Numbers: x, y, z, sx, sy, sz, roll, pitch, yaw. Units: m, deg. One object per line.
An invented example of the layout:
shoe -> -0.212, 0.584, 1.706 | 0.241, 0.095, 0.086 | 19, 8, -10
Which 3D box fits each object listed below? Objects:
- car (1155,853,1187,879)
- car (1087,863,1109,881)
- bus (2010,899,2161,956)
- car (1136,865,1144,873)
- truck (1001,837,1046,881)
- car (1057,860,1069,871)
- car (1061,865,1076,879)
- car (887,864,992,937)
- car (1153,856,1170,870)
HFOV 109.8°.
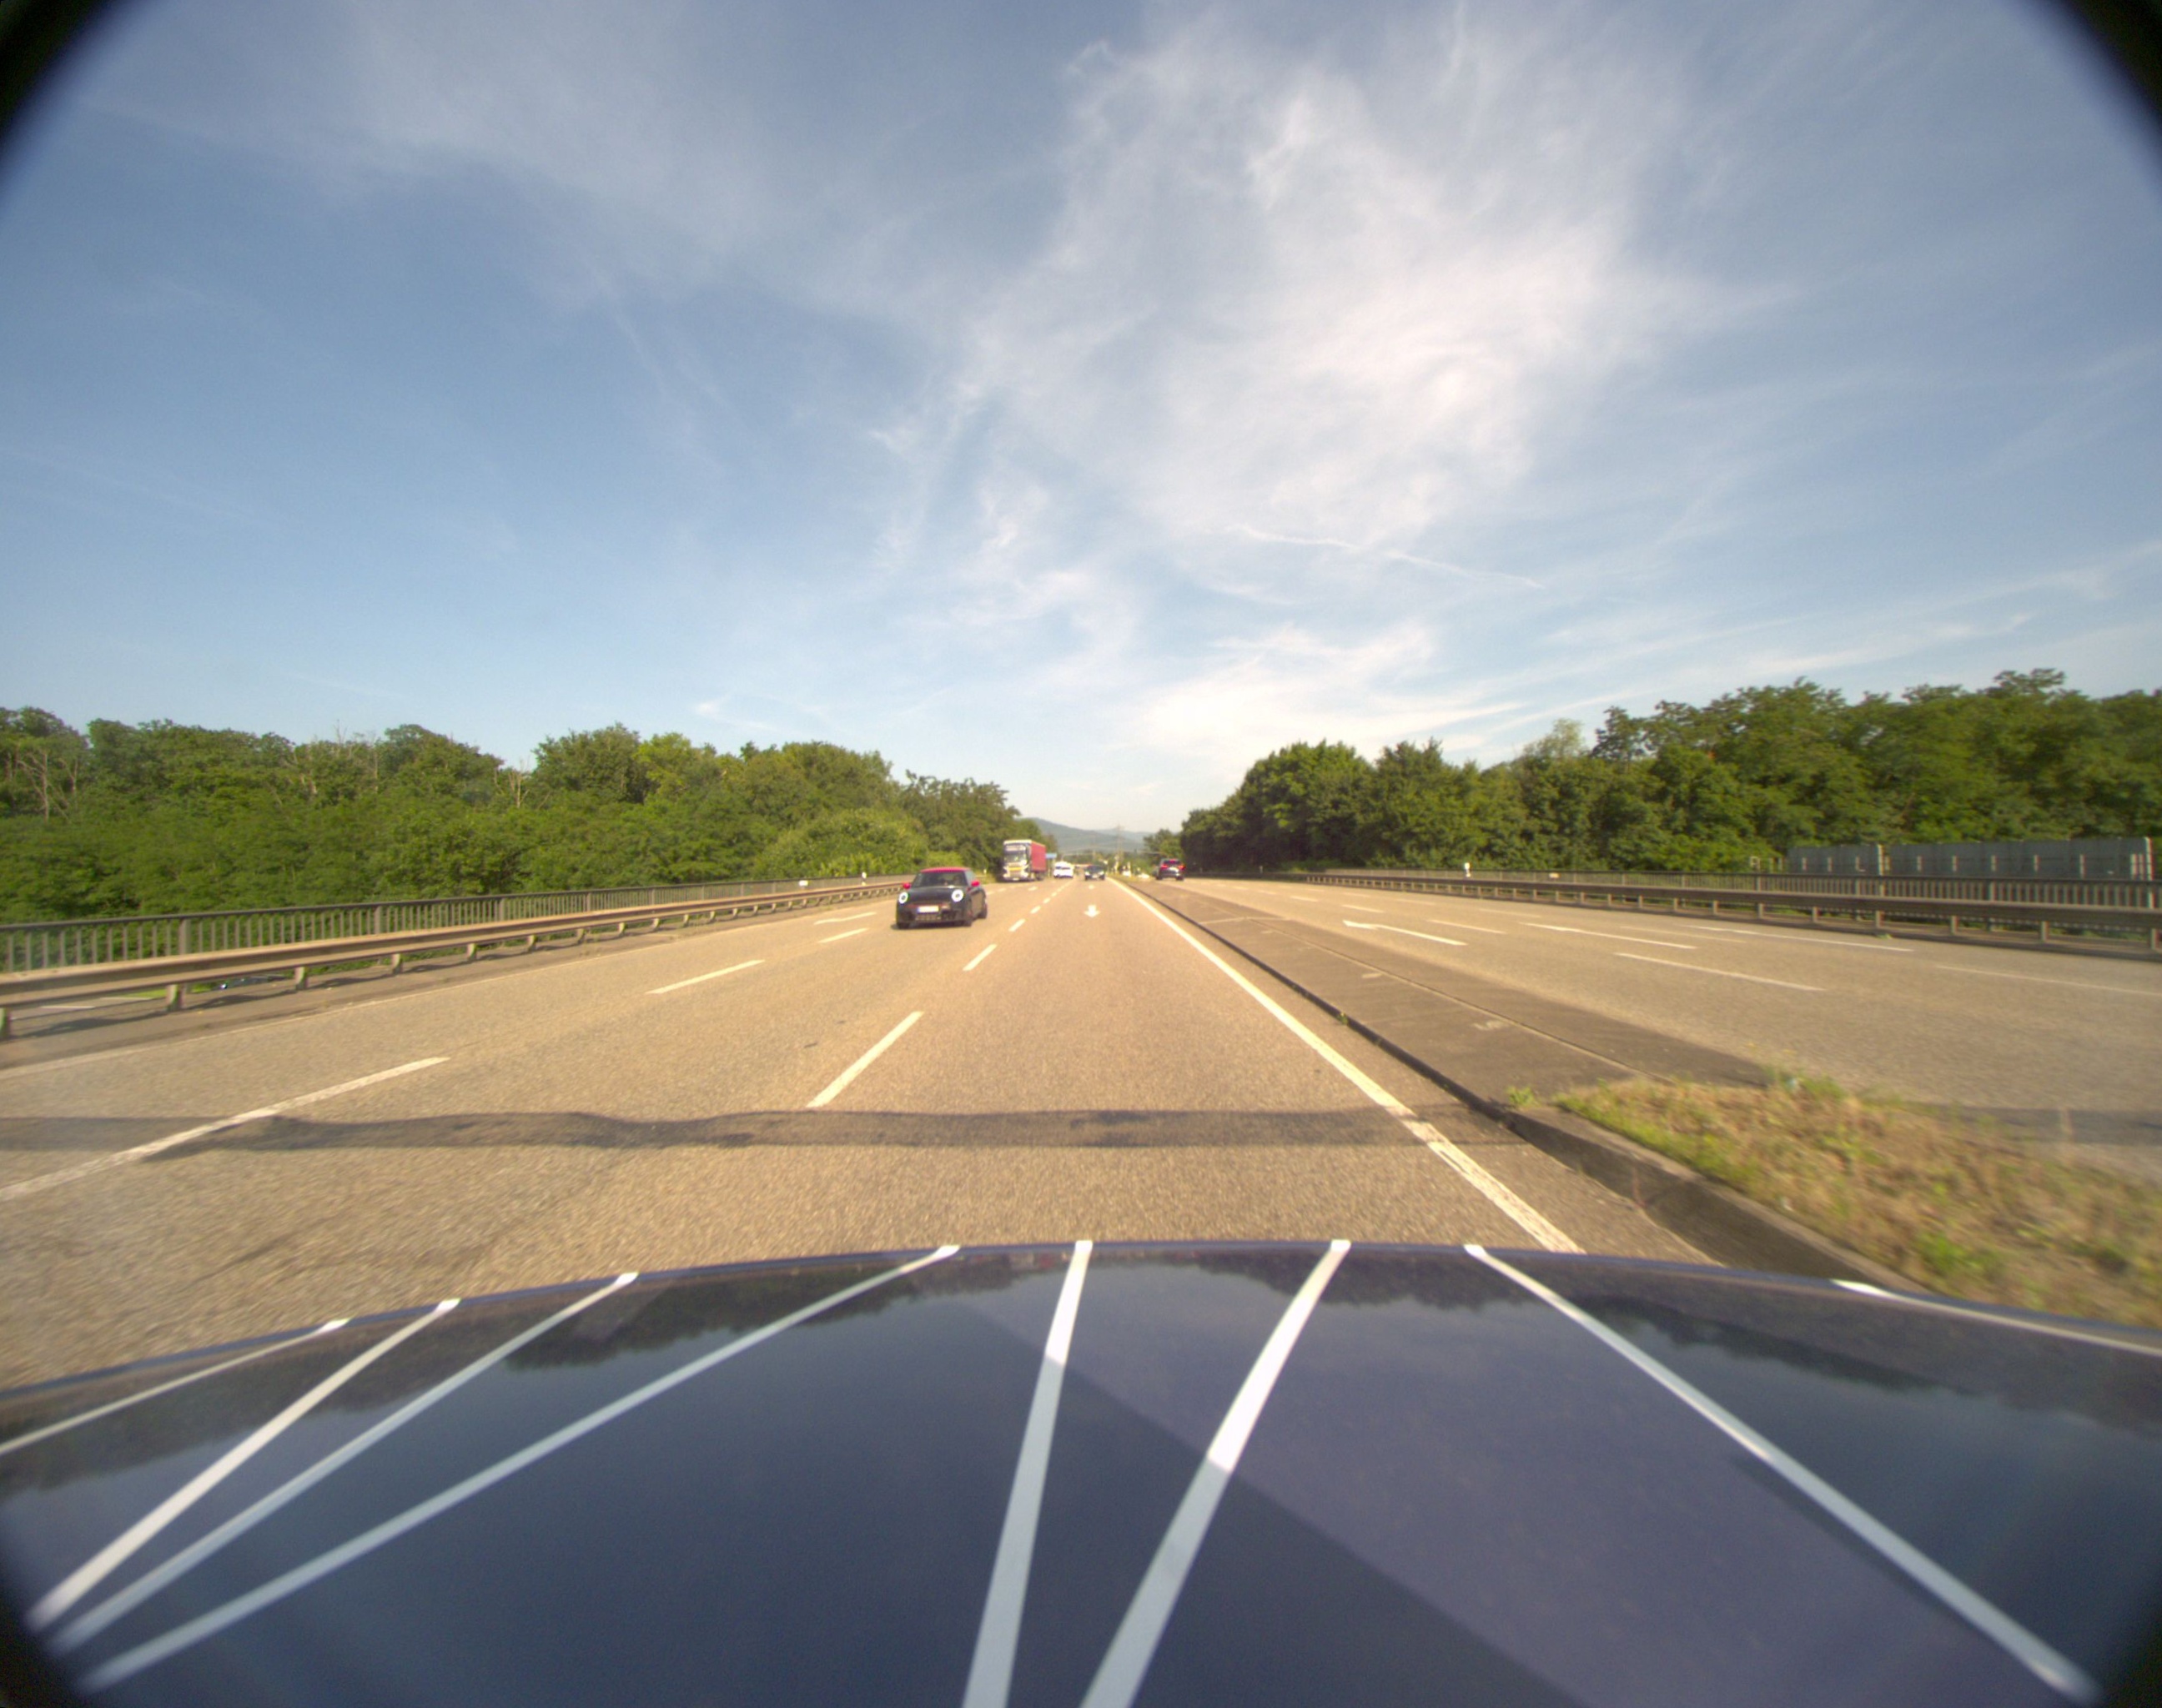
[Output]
car -> 7.284, 0.935, 61.826 | 1.998, 1.818, 4.617 | -2, 1, 0
car -> 1.559, 1.611, 69.814 | 1.861, 1.452, 4.568 | -2, 1, 1
bus -> 51.336, 3.839, 35.722 | 10.933, 2.002, 2.314 | 6, 2, 7
car -> 16.406, 4.147, 211.936 | 1.919, 1.818, 4.419 | -2, 1, 0
truck -> -5.639, 0.370, 77.639 | 3.196, 3.996, 14.561 | -2, 1, 1
car -> -2.779, 1.732, 119.545 | 1.875, 1.625, 4.833 | 0, 1, 0
car -> -1.515, 2.330, 97.131 | 1.875, 1.625, 4.833 | 0, 1, 0
car -> -3.429, 1.074, 19.144 | 1.824, 1.459, 3.872 | -2, 1, 1
car -> 11.424, 1.322, 108.410 | 1.919, 1.818, 4.419 | -2, 1, 0
